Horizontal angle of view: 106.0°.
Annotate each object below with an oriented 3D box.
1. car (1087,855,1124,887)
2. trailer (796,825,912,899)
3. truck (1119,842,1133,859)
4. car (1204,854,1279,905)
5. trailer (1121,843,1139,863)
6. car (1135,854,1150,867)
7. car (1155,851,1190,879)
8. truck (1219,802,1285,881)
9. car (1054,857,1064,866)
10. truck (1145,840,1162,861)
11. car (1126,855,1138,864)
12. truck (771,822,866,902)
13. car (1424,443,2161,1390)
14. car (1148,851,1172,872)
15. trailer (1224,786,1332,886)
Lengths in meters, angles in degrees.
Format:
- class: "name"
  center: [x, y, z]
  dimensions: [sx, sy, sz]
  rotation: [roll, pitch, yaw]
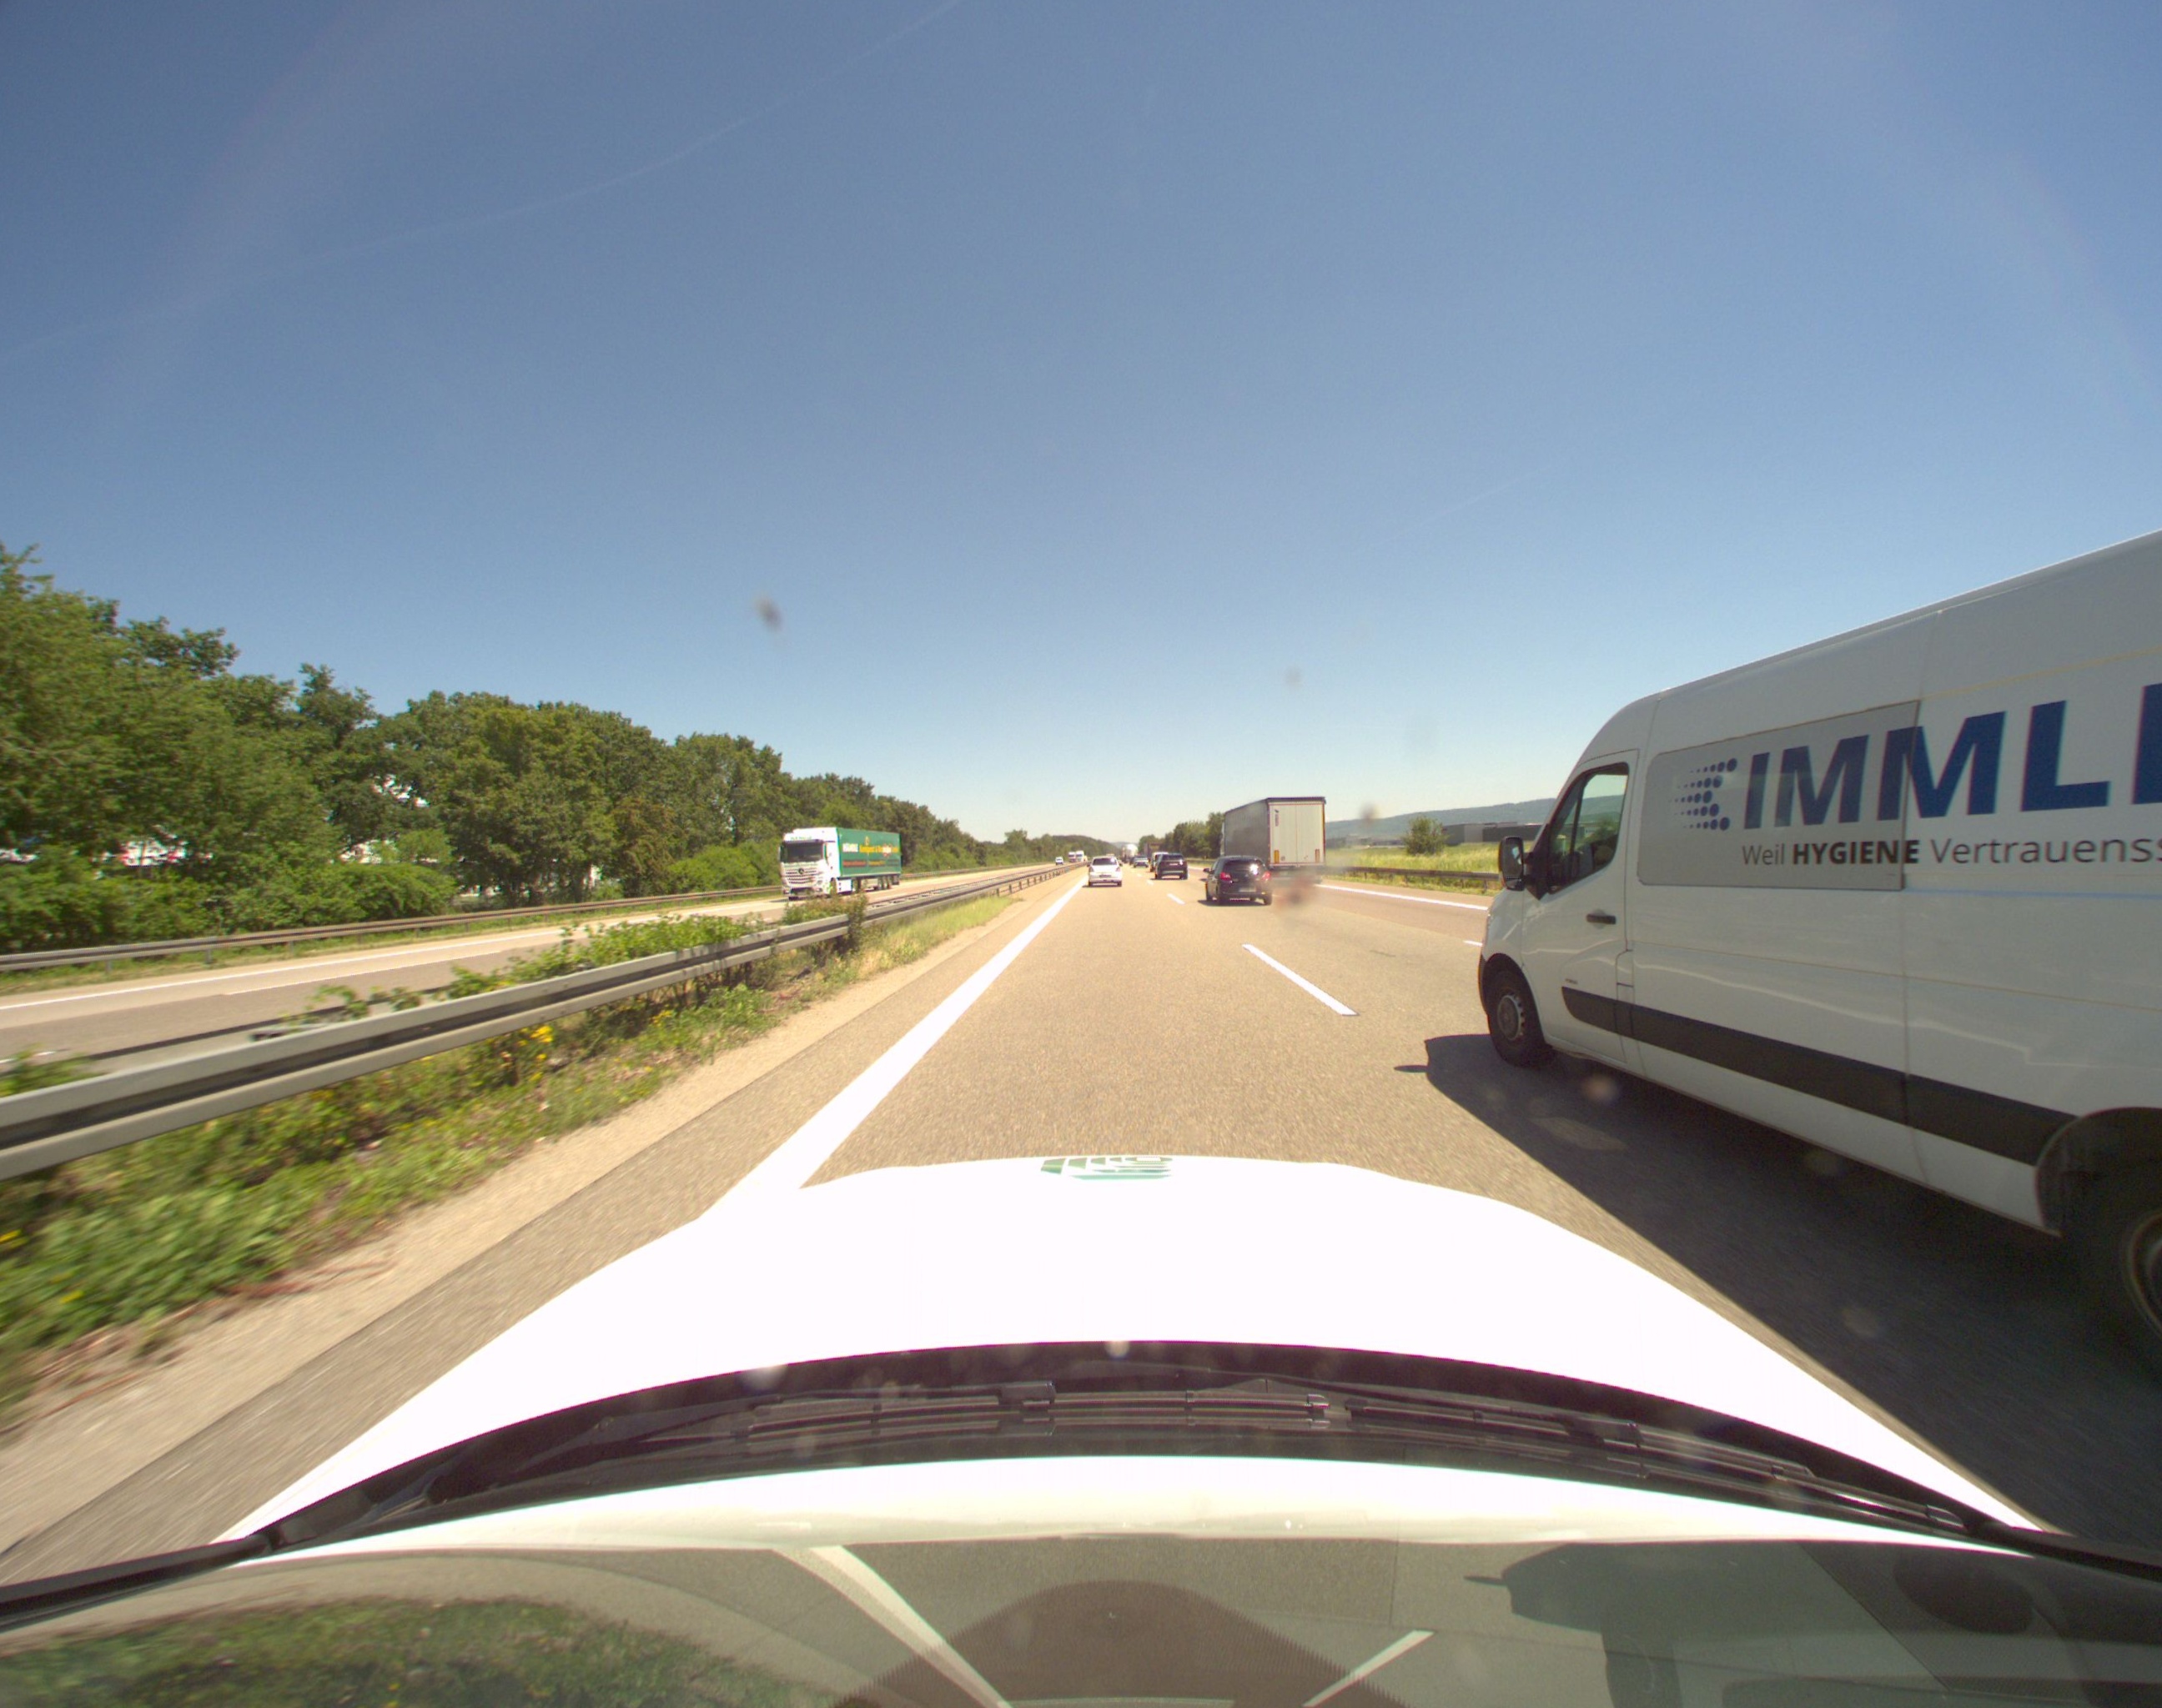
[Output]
- class: "car"
  center: [1.258, 0.823, 41.412]
  dimensions: [1.792, 1.552, 3.611]
  rotation: [0, -1, 2]
- class: "trailer"
  center: [-14.518, 0.501, 53.809]
  dimensions: [2.865, 4.043, 13.690]
  rotation: [-4, -1, 3]
- class: "truck"
  center: [11.432, -0.895, 207.924]
  dimensions: [3.380, 4.214, 12.093]
  rotation: [0, -1, 3]
- class: "car"
  center: [4.909, 0.759, 25.311]
  dimensions: [1.681, 1.473, 3.433]
  rotation: [0, -1, 1]
- class: "trailer"
  center: [10.034, -0.166, 167.852]
  dimensions: [2.903, 4.069, 12.412]
  rotation: [0, 0, -1]
- class: "car"
  center: [7.870, 0.852, 104.818]
  dimensions: [1.795, 1.603, 4.383]
  rotation: [0, -1, 2]
- class: "car"
  center: [5.815, 0.677, 52.210]
  dimensions: [1.860, 1.675, 4.748]
  rotation: [0, -1, 2]
- class: "truck"
  center: [10.060, -0.664, 48.715]
  dimensions: [2.798, 4.304, 7.199]
  rotation: [0, -1, 3]
- class: "car"
  center: [-5.394, 1.870, 199.939]
  dimensions: [1.781, 2.013, 4.383]
  rotation: [-4, -1, 3]
- class: "truck"
  center: [14.970, -0.626, 169.069]
  dimensions: [3.095, 4.139, 15.524]
  rotation: [0, 0, 3]
- class: "car"
  center: [8.291, 0.891, 132.103]
  dimensions: [1.843, 1.523, 3.959]
  rotation: [0, -1, 2]
- class: "truck"
  center: [-14.891, 0.451, 46.765]
  dimensions: [2.865, 4.043, 6.336]
  rotation: [-4, -1, 3]
- class: "car"
  center: [4.000, 0.178, 4.162]
  dimensions: [2.145, 2.508, 5.948]
  rotation: [0, -1, 2]
- class: "car"
  center: [7.367, 0.719, 76.303]
  dimensions: [1.846, 1.863, 4.703]
  rotation: [0, -1, 1]
- class: "trailer"
  center: [9.745, -0.713, 42.289]
  dimensions: [2.798, 4.304, 14.263]
  rotation: [0, 0, 3]
